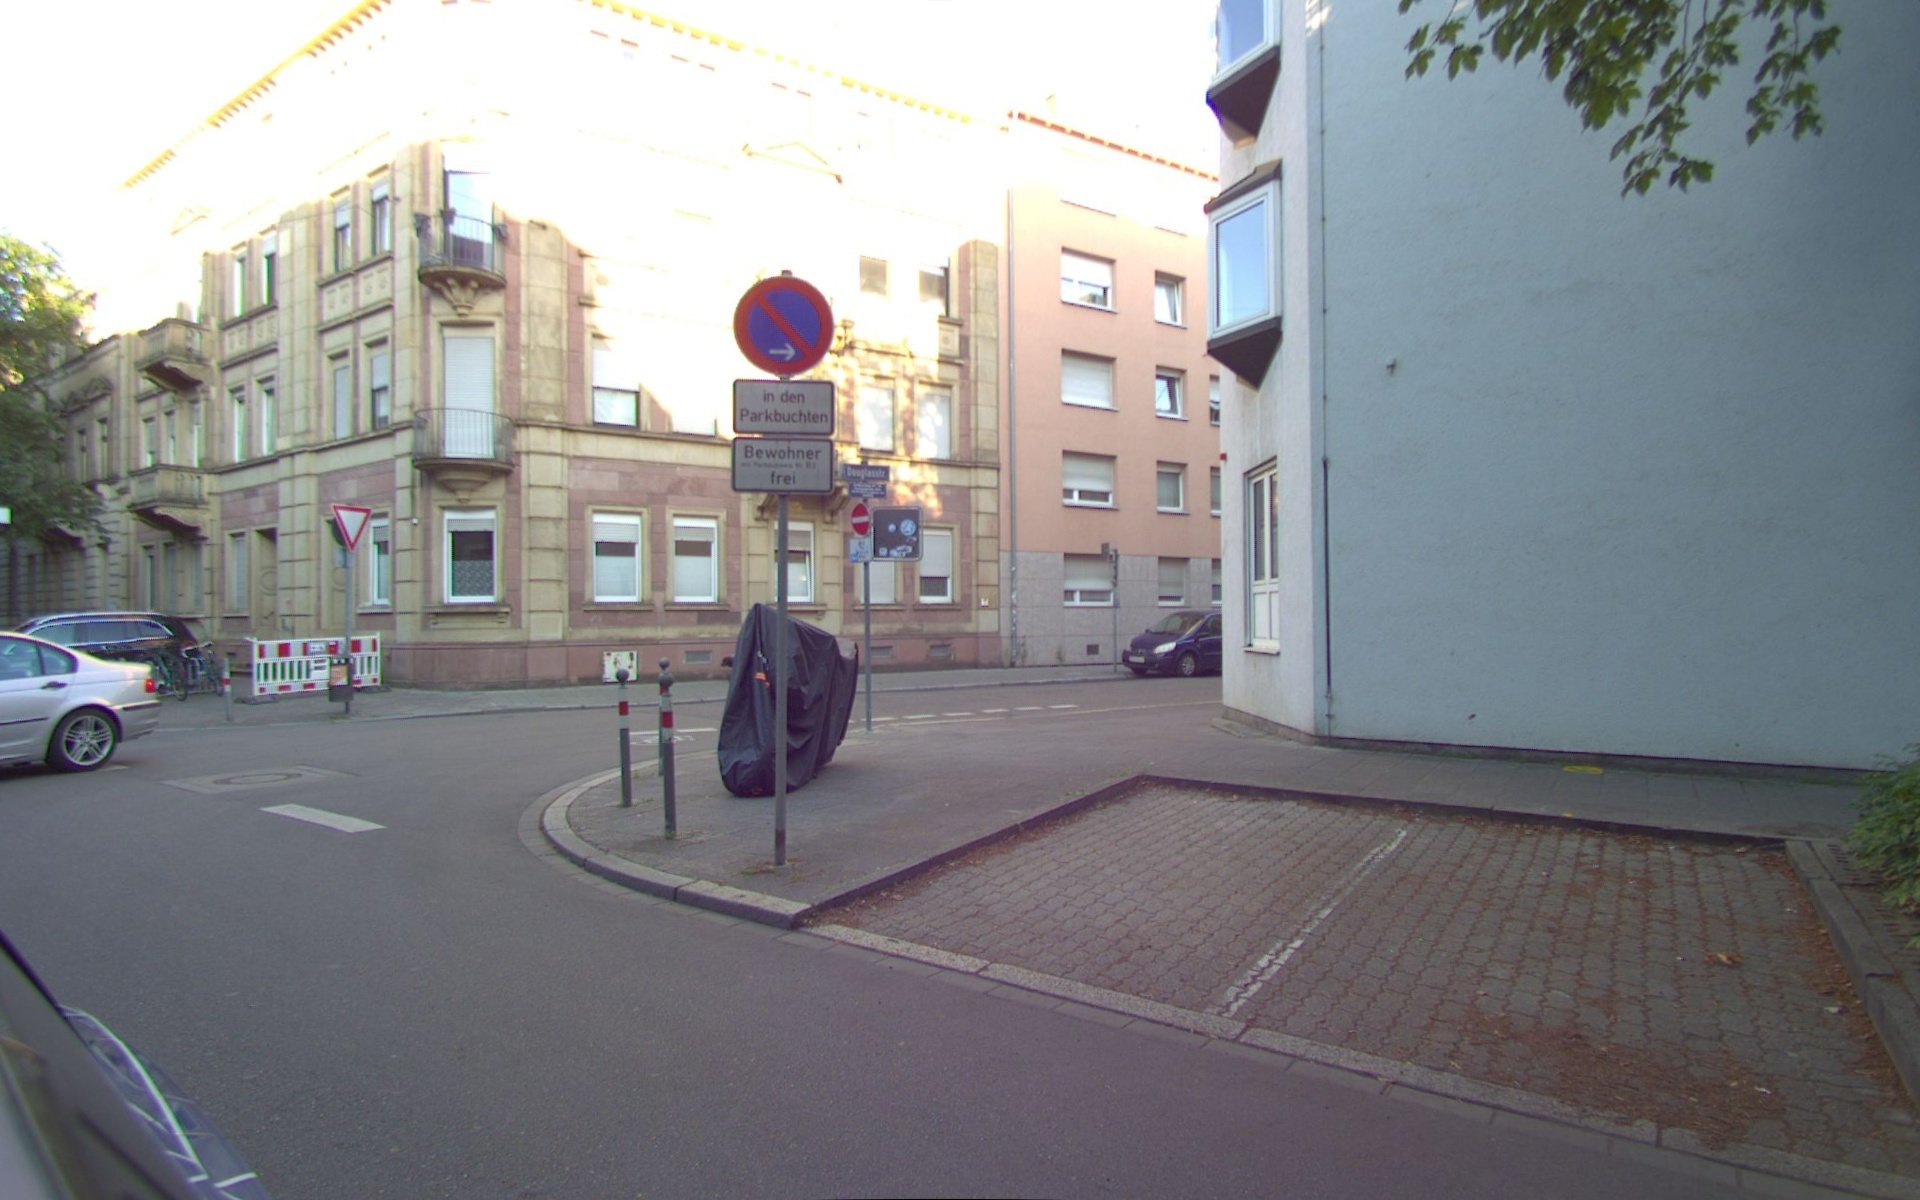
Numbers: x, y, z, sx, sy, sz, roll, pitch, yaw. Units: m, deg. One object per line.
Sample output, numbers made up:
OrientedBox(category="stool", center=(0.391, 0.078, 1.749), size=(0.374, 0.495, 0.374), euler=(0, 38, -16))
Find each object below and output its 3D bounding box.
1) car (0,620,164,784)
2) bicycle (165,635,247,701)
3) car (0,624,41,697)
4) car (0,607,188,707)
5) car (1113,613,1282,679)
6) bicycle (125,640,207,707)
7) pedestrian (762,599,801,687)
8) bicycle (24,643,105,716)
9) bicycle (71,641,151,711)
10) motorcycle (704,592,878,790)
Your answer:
OrientedBox(category="car", center=(-9.511, 0.913, 8.497), size=(1.694, 1.453, 4.419), euler=(-1, -1, 11))
OrientedBox(category="bicycle", center=(-14.124, 1.248, 18.939), size=(2.033, 1.159, 0.556), euler=(-1, -1, 33))
OrientedBox(category="car", center=(-23.983, 1.419, 23.147), size=(1.740, 1.690, 4.190), euler=(-1, -2, 39))
OrientedBox(category="car", center=(-17.575, 1.043, 19.216), size=(1.740, 1.795, 4.367), euler=(-1, -2, 39))
OrientedBox(category="car", center=(6.059, 1.118, 25.607), size=(4.297, 1.529, 1.789), euler=(0, -2, -36))
OrientedBox(category="bicycle", center=(-14.478, 1.309, 18.436), size=(2.033, 1.159, 0.556), euler=(-1, -1, 33))
OrientedBox(category="pedestrian", center=(-3.756, 0.899, 21.325), size=(0.640, 1.821, 0.575), euler=(1, -3, -31))
OrientedBox(category="bicycle", center=(-15.302, 1.333, 17.279), size=(2.034, 1.159, 0.555), euler=(-1, -1, 34))
OrientedBox(category="bicycle", center=(-14.949, 1.308, 17.808), size=(2.034, 1.159, 0.555), euler=(-1, -1, 34))
OrientedBox(category="motorcycle", center=(-1.404, 0.721, 8.956), size=(0.809, 1.516, 2.276), euler=(-1, -1, 10))
